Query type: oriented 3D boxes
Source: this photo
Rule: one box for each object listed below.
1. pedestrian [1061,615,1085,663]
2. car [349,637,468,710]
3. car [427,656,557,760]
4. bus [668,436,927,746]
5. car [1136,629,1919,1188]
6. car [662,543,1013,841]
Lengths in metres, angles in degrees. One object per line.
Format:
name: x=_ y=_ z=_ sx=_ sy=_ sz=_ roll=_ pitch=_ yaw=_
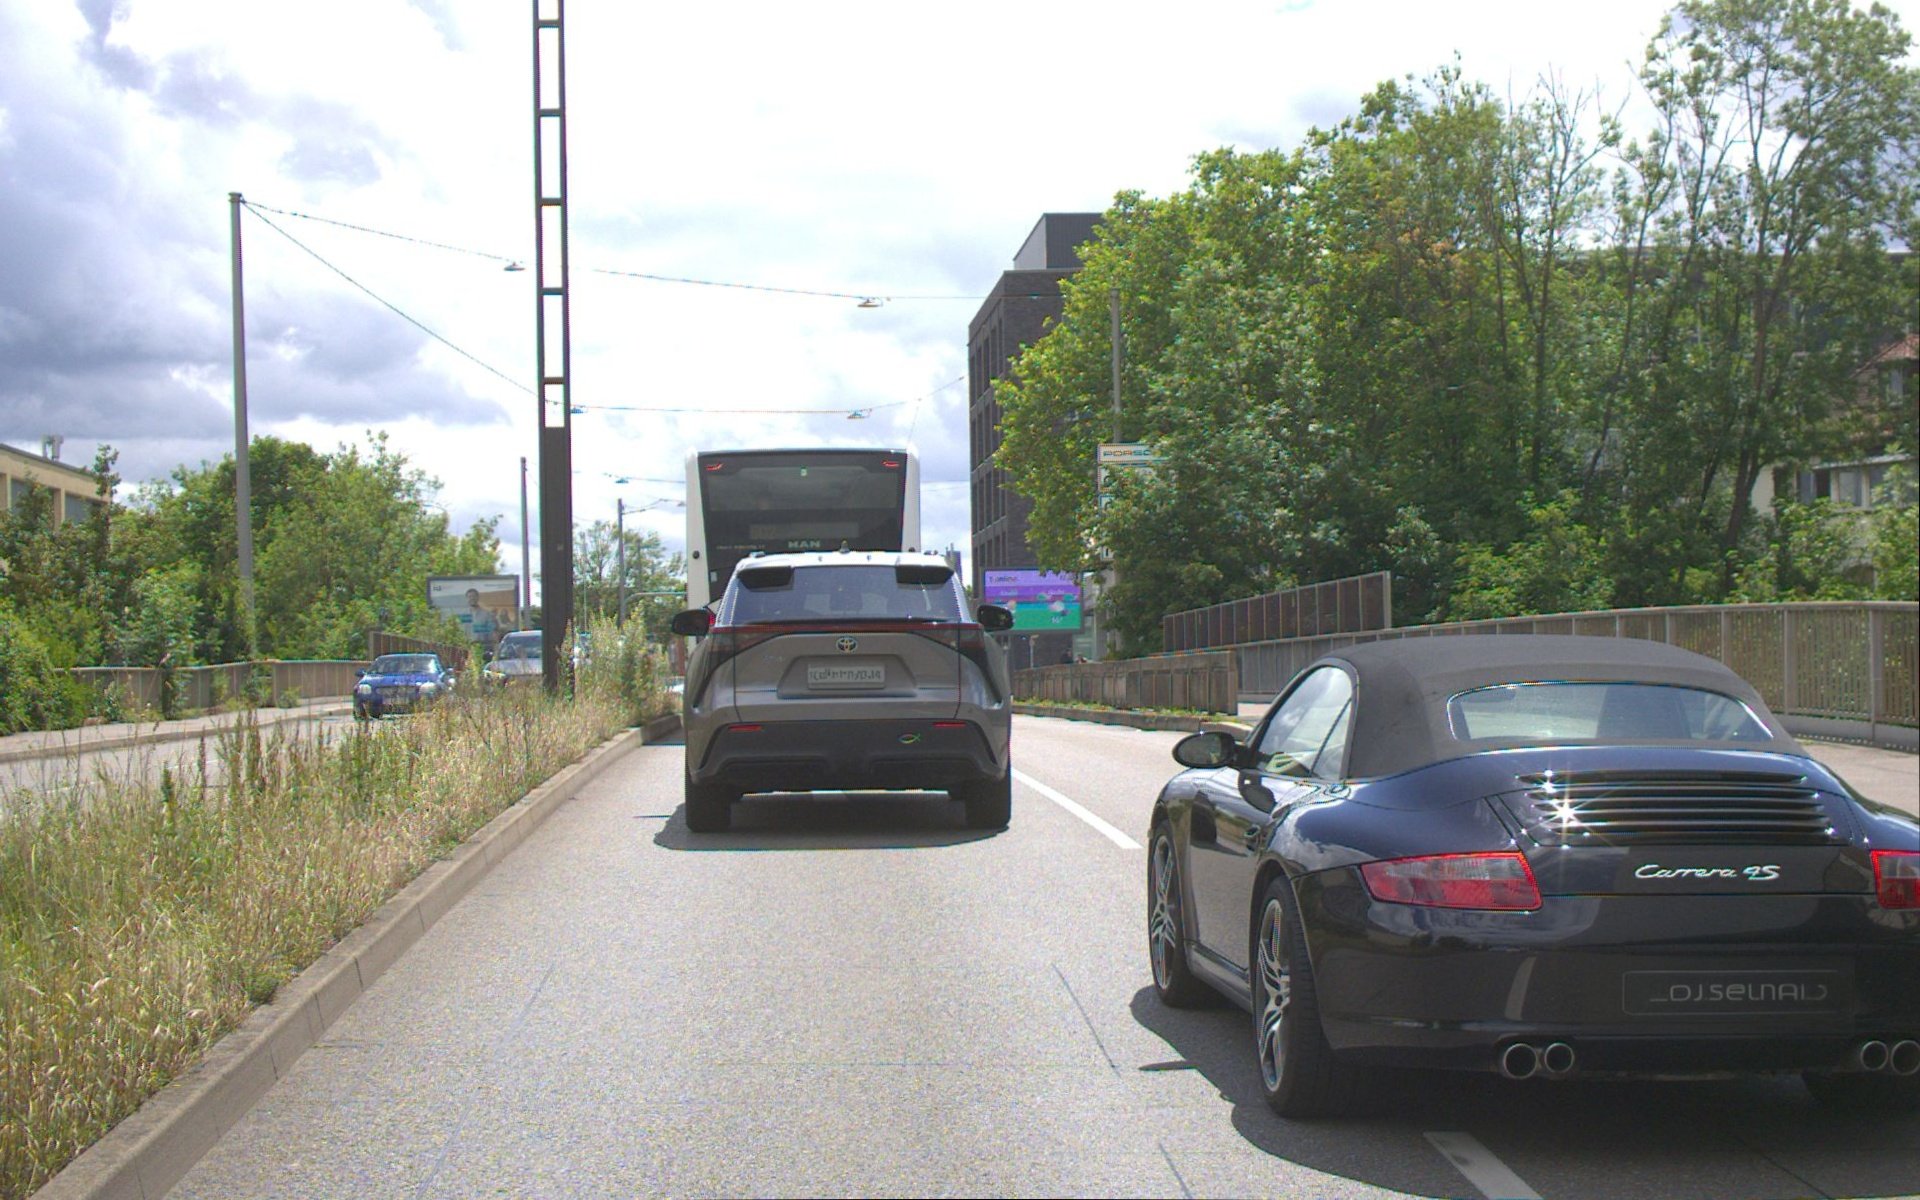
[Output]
pedestrian: x=4.054 y=1.411 z=123.217 sx=0.681 sy=1.691 sz=0.597 roll=-1 pitch=-2 yaw=23
car: x=-10.641 y=1.404 z=66.513 sx=1.754 sy=1.271 sz=4.000 roll=-3 pitch=-1 yaw=-2
car: x=-8.376 y=1.909 z=61.814 sx=1.877 sy=1.621 sz=4.444 roll=-2 pitch=0 yaw=-3
bus: x=-1.951 y=-0.261 z=42.428 sx=2.689 sy=3.244 sz=12.059 roll=1 pitch=2 yaw=-2
car: x=1.604 y=0.760 z=10.321 sx=1.719 sy=1.271 sz=4.088 roll=0 pitch=0 yaw=-3
car: x=-0.709 y=0.482 z=20.666 sx=1.879 sy=1.588 sz=4.230 roll=1 pitch=0 yaw=-1
